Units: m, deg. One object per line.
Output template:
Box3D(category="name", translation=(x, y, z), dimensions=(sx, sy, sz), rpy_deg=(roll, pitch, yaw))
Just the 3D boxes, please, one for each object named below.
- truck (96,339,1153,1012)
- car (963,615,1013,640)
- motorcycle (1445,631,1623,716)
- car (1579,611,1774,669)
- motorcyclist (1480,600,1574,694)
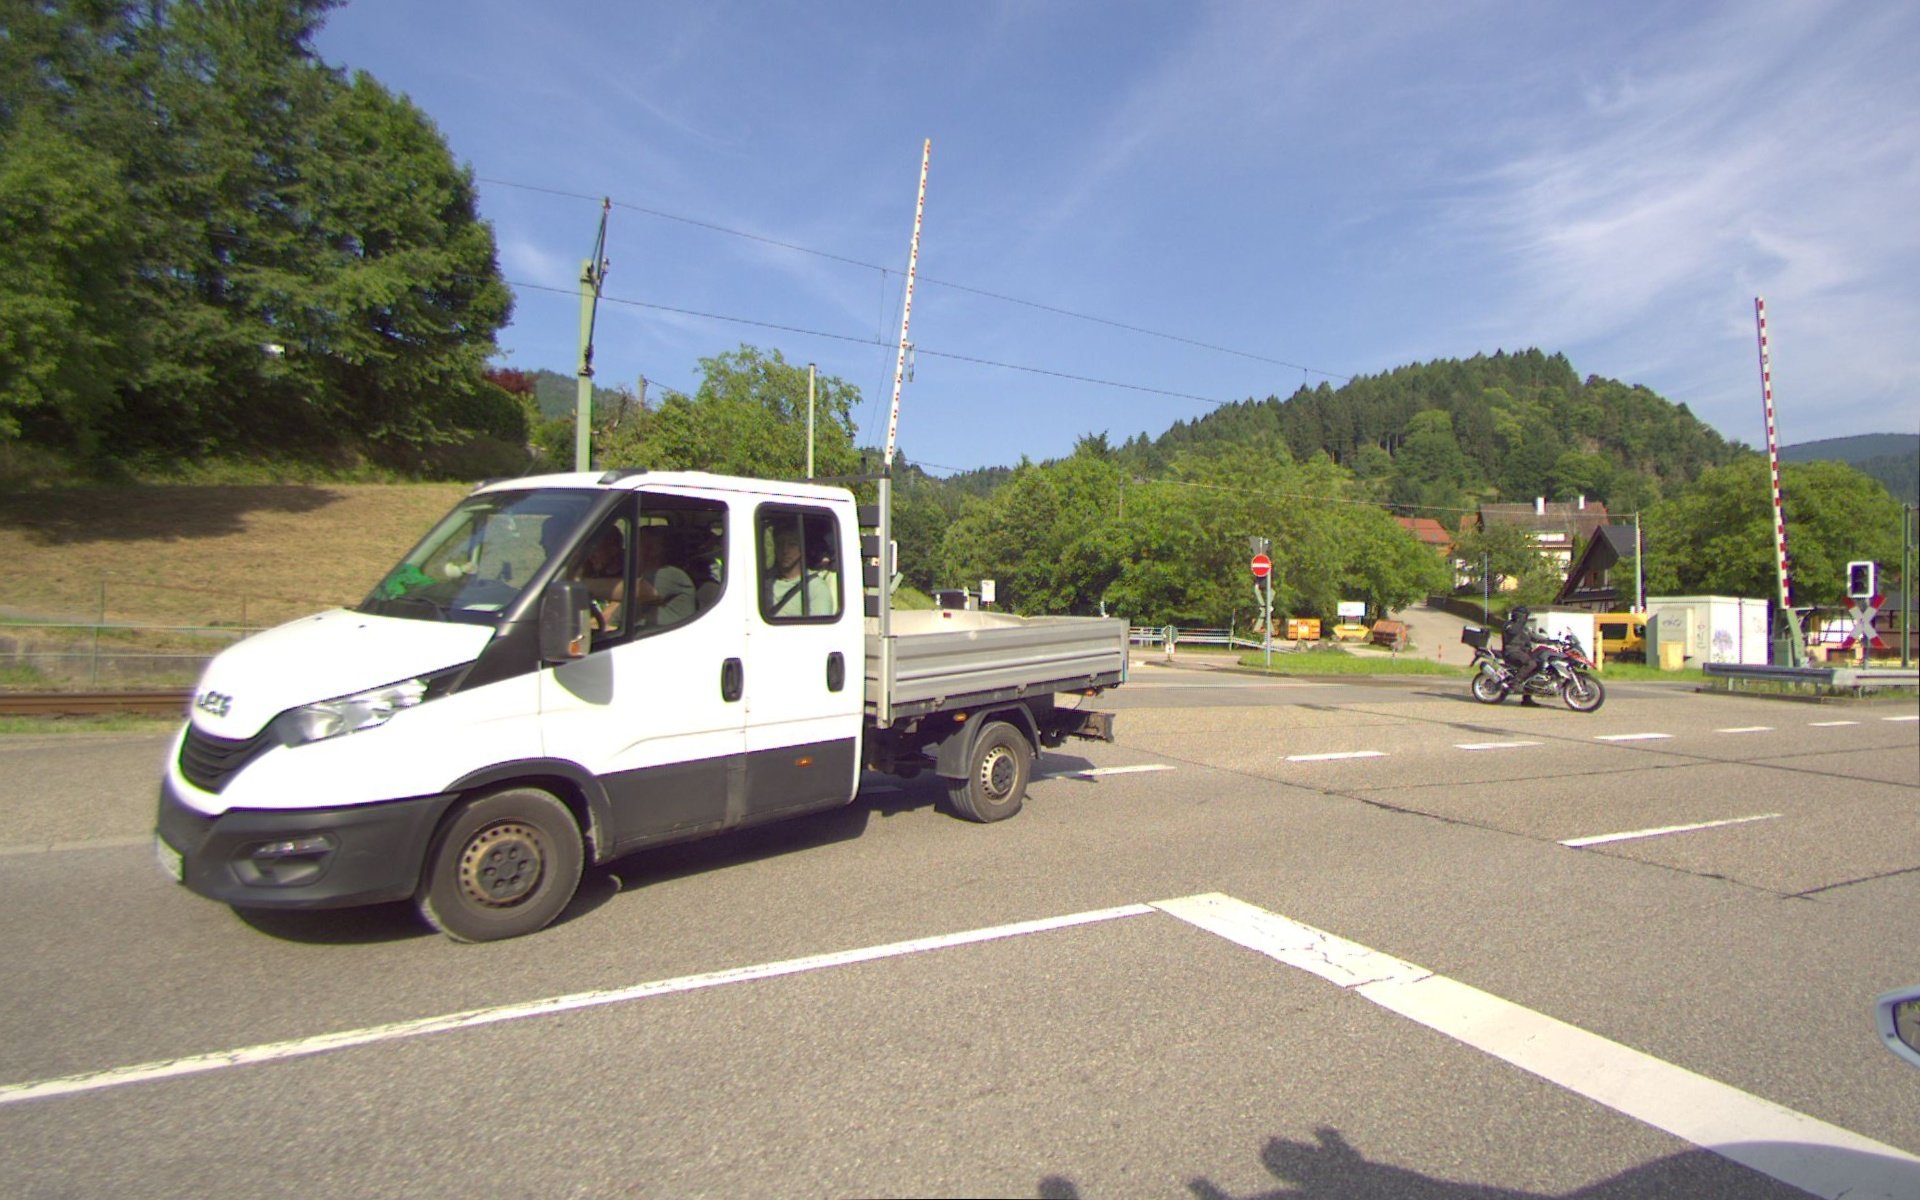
Box3D(category="truck", translation=(-1.359, 0.321, 6.617), dimensions=(2.418, 2.296, 6.251), rpy_deg=(1, -1, 40))
Box3D(category="car", translation=(1.767, 1.771, 64.759), dimensions=(1.919, 1.550, 3.984), rpy_deg=(2, -2, -18))
Box3D(category="motorcycle", translation=(10.147, 1.258, 17.845), dimensions=(0.998, 1.285, 2.560), rpy_deg=(2, 0, -43))
Box3D(category="car", translation=(33.137, 1.780, 46.841), dimensions=(2.904, 2.489, 7.055), rpy_deg=(2, -1, -20))
Box3D(category="motorcyclist", translation=(10.103, 0.821, 17.898), dimensions=(0.985, 1.565, 1.171), rpy_deg=(2, 0, -43))
